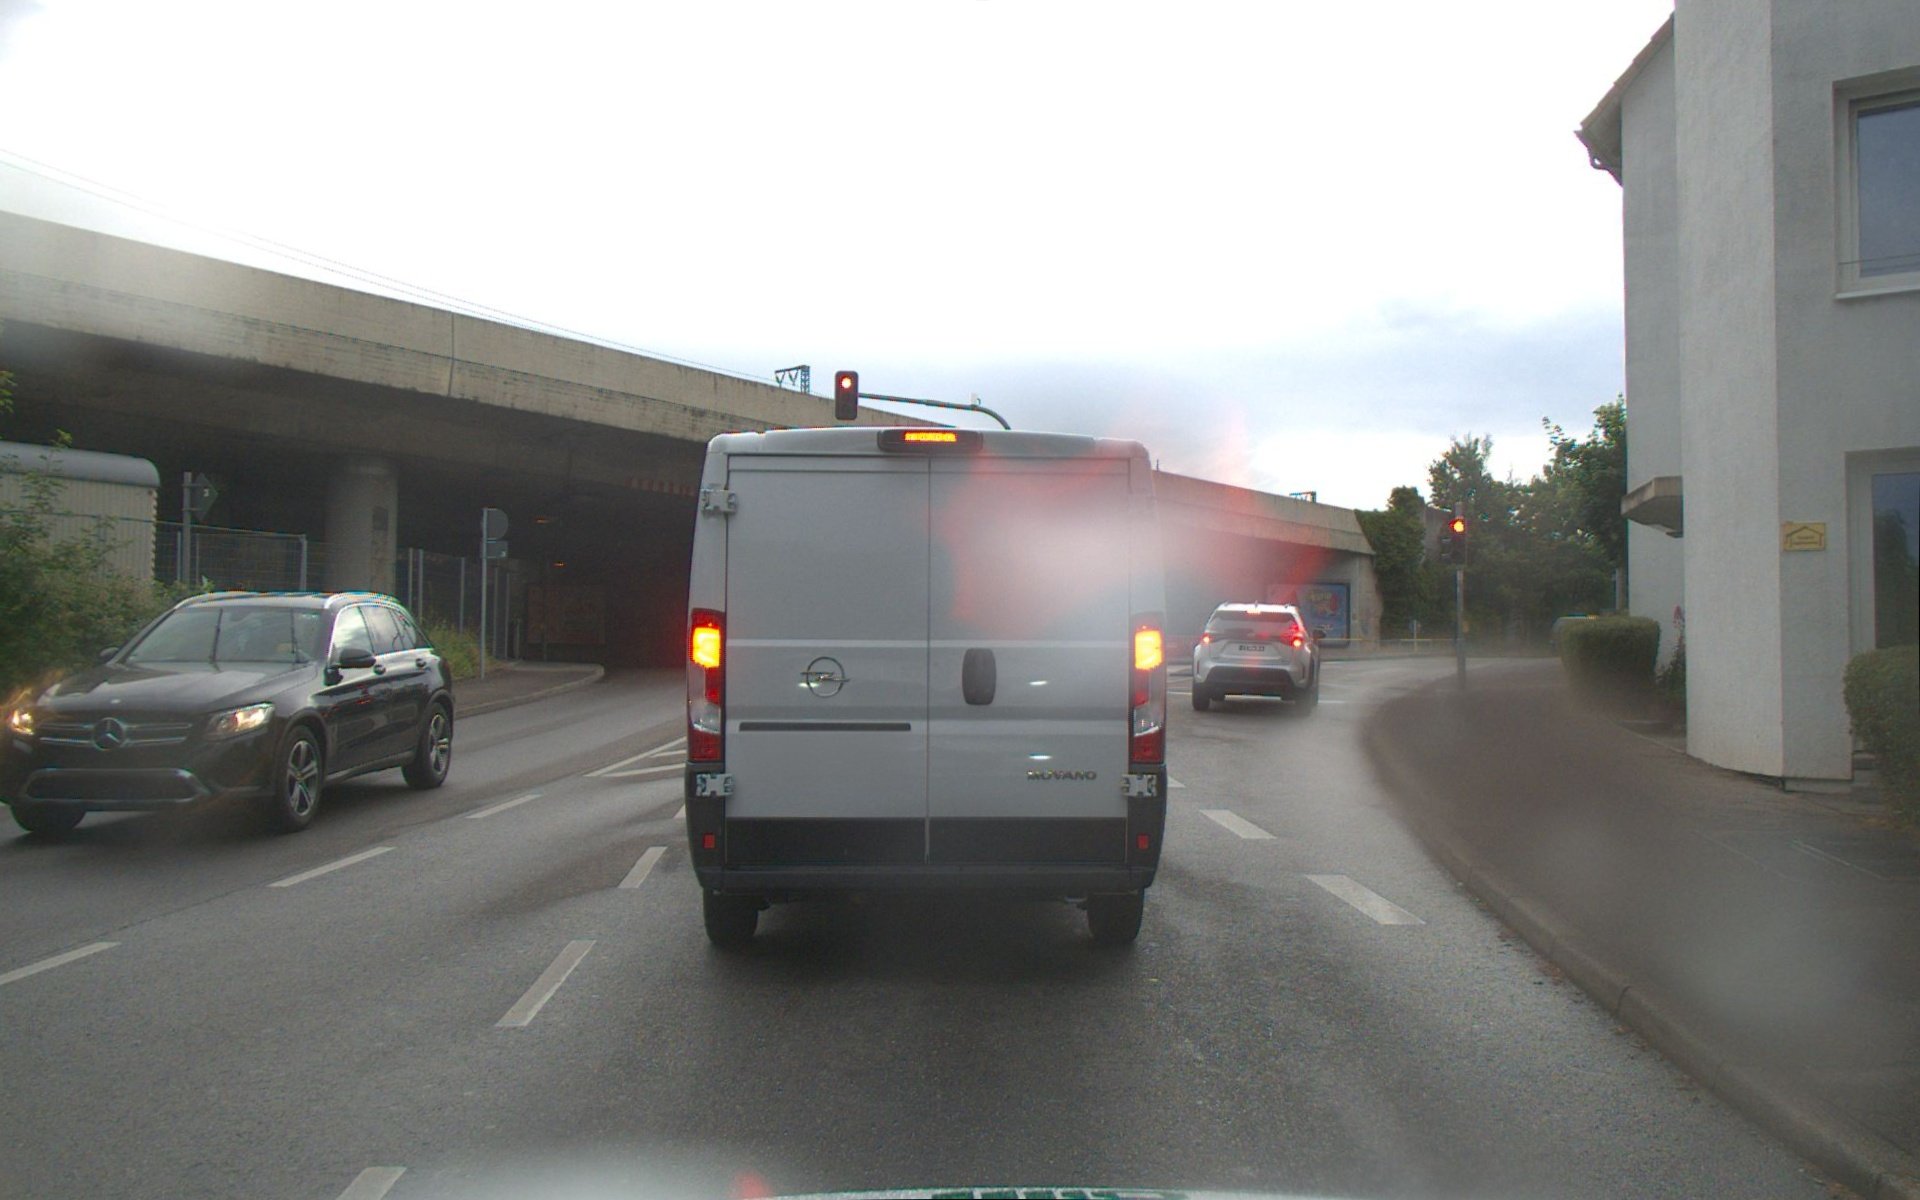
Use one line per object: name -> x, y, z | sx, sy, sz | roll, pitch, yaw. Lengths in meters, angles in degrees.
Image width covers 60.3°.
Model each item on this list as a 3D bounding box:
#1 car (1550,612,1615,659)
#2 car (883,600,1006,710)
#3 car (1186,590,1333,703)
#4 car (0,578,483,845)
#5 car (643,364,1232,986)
car -> 21.525, 1.230, 57.122 | 1.953, 1.545, 3.998 | 0, -2, 23
car -> -0.189, 0.946, 28.788 | 1.952, 1.759, 4.000 | 0, -2, 2
car -> 4.654, 0.701, 25.288 | 1.951, 1.576, 4.003 | 0, -2, 14
car -> -5.220, 0.709, 12.539 | 1.875, 1.655, 4.434 | 0, 0, 0
car -> -0.125, 0.318, 9.084 | 2.258, 2.384, 5.280 | 1, -1, -1
